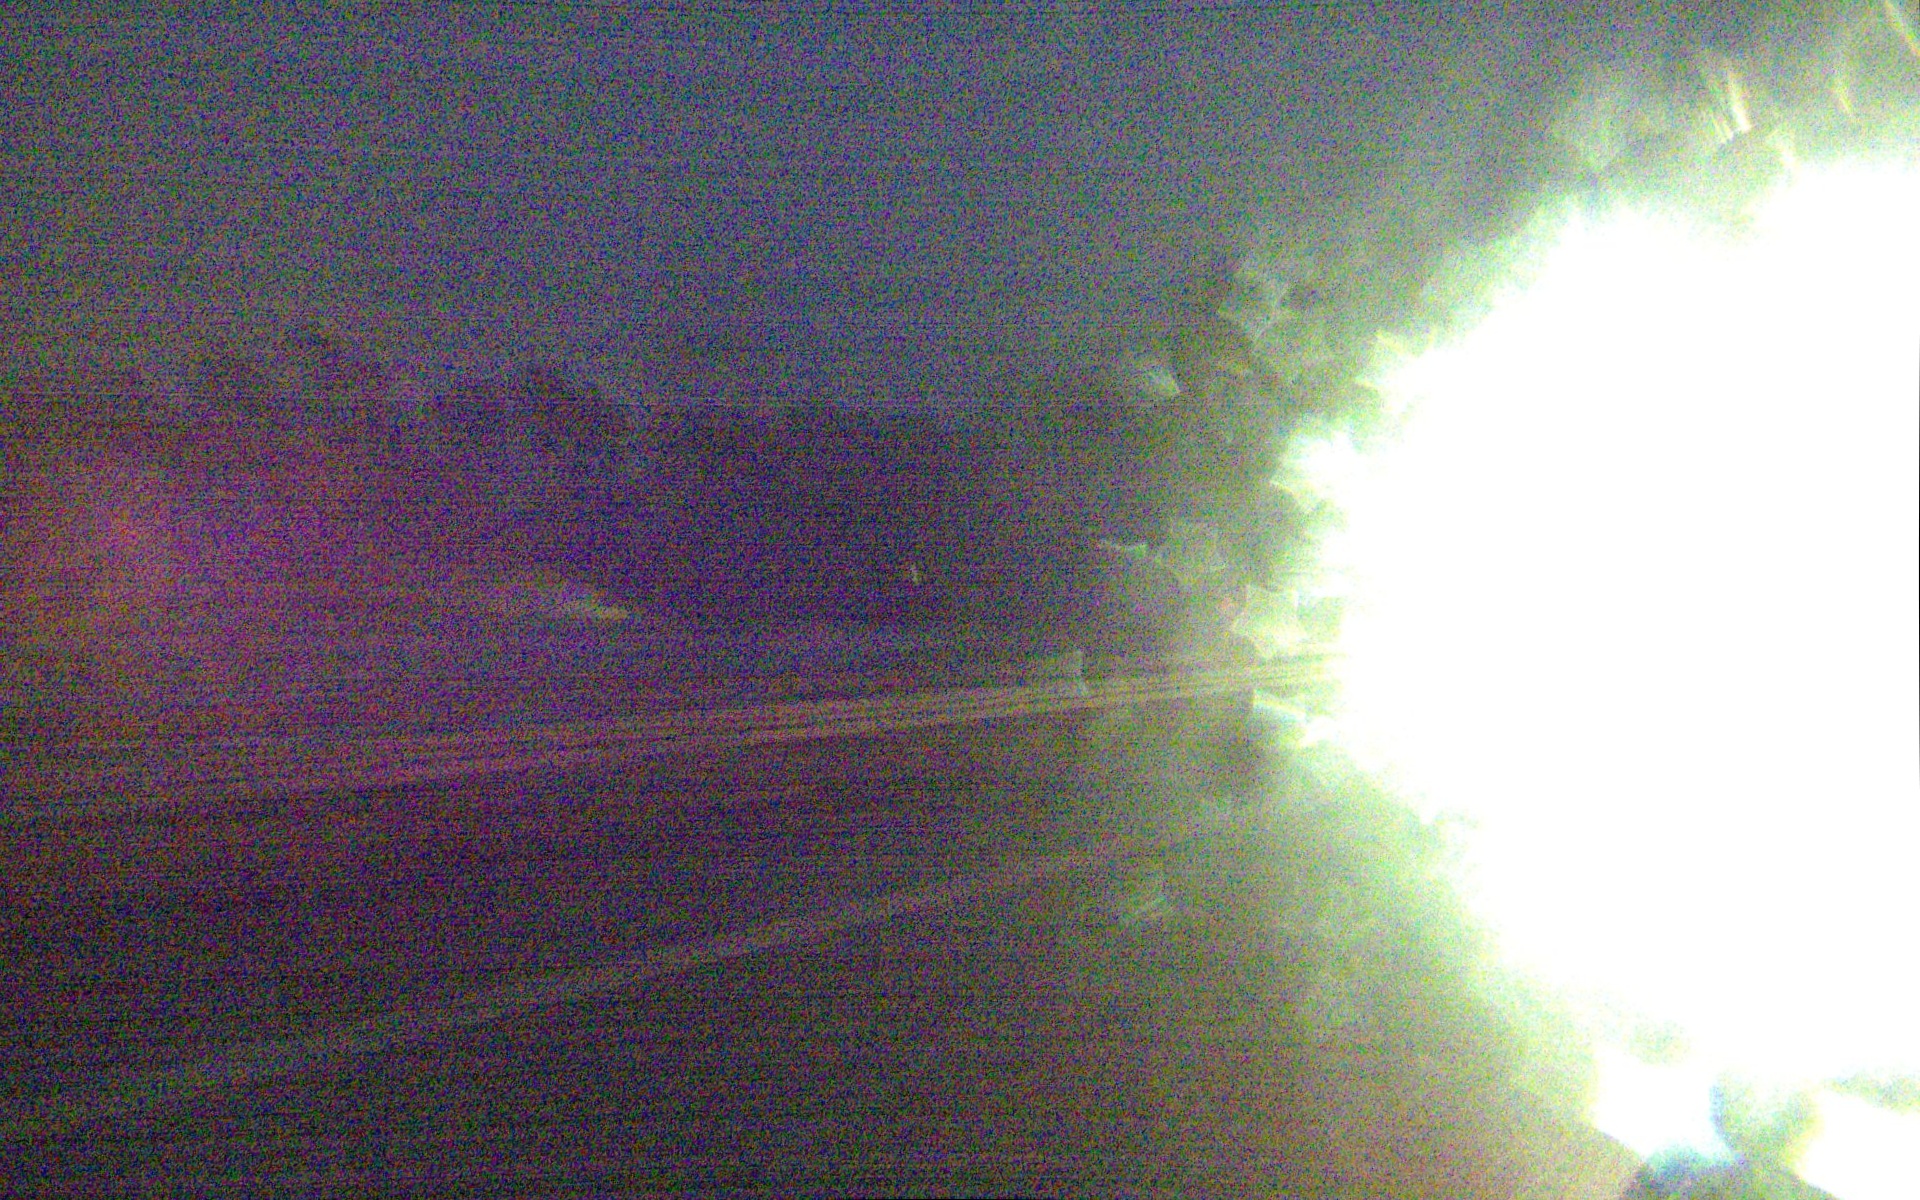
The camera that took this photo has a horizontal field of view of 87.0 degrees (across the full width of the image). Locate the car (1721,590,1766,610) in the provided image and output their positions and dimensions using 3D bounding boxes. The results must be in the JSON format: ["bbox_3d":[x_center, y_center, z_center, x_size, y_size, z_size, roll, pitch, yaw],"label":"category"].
[{"bbox_3d":[69.372,-0.004,89.631,1.765,1.672,4.030,0,-1,17],"label":"car"}]

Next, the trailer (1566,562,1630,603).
[{"bbox_3d":[74.020,-1.959,117.804,2.504,4.391,13.641,0,0,16],"label":"trailer"}]

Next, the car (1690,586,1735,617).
[{"bbox_3d":[43.795,0.087,58.992,1.729,1.705,4.072,-2,-1,32],"label":"car"}]

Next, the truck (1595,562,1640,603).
[{"bbox_3d":[72.149,-1.919,111.130,2.504,4.391,5.536,0,0,16],"label":"truck"}]

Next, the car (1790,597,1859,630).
[{"bbox_3d":[37.286,0.540,43.716,1.749,1.328,4.036,1,1,34],"label":"car"}]
